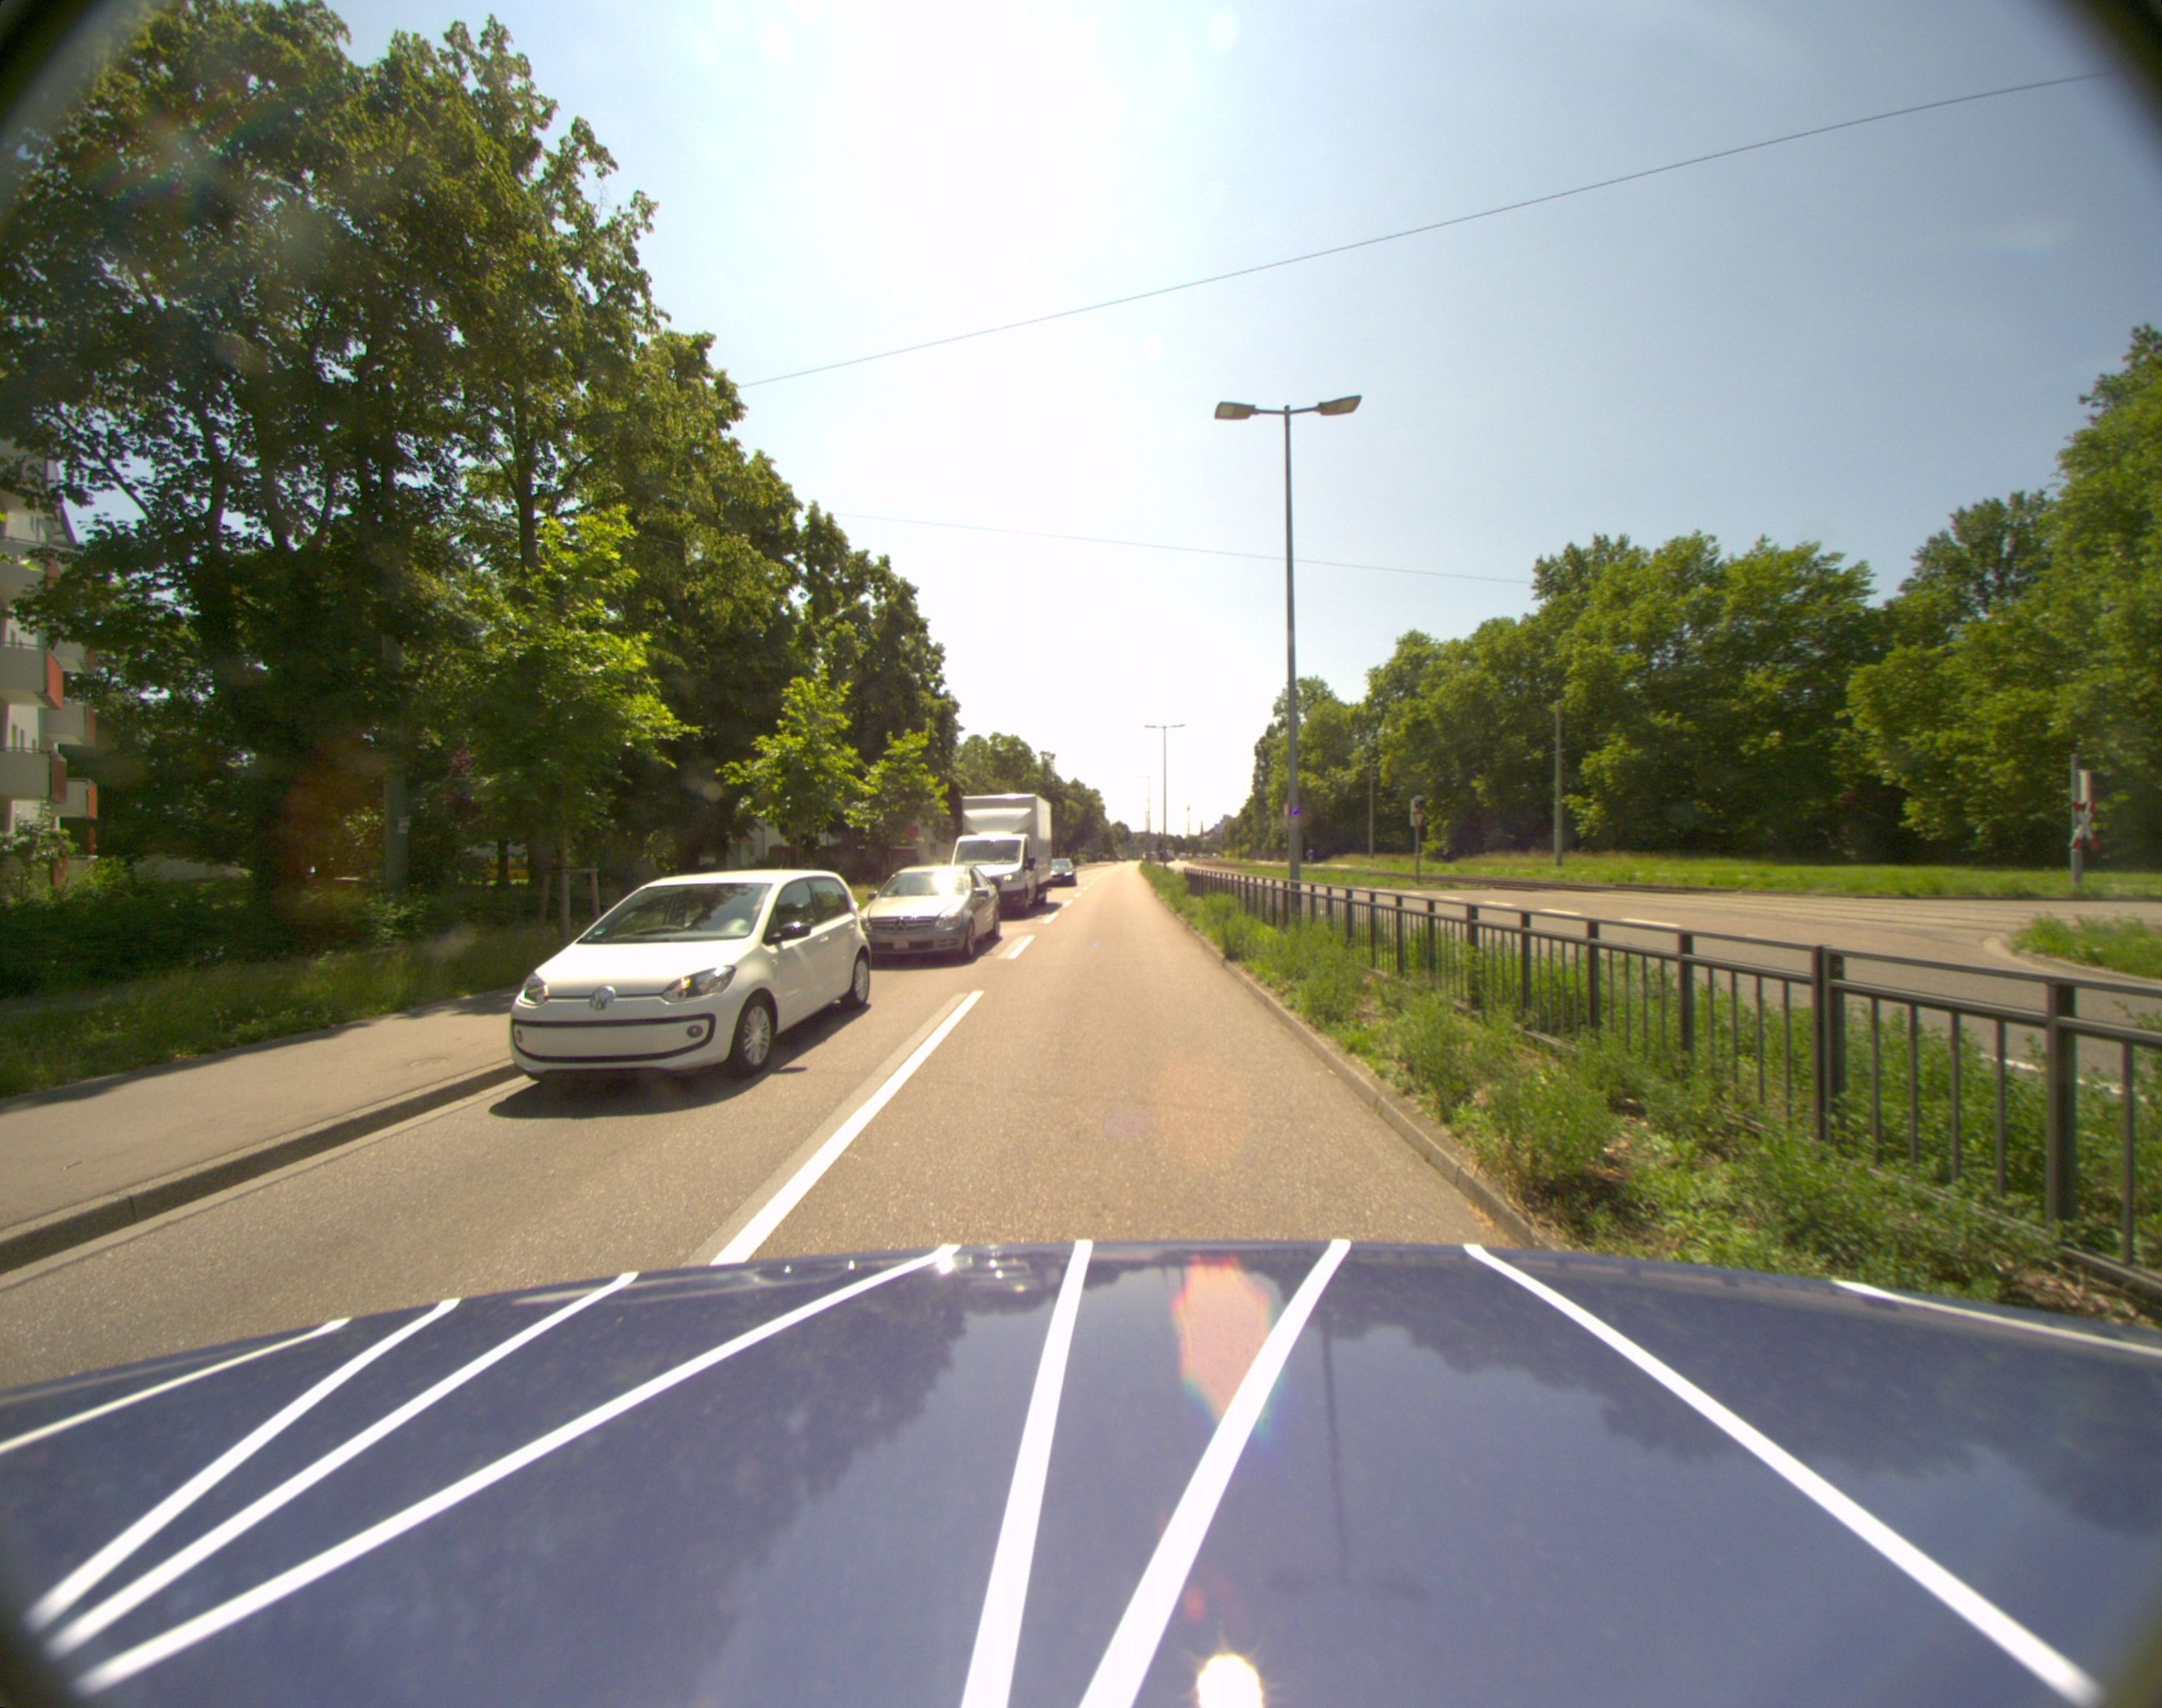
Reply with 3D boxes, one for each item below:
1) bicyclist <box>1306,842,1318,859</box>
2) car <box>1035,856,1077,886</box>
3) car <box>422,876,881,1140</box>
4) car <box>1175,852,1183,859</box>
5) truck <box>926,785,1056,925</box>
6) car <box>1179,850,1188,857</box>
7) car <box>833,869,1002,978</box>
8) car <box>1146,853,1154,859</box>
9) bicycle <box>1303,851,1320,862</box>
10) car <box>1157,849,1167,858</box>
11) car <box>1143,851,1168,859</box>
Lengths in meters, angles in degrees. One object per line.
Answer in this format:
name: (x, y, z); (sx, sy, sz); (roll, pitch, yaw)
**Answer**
bicyclist: (23.680, -0.350, 77.954); (0.862, 1.796, 1.118); (-1, 1, 1)
car: (-1.264, 0.861, 40.203); (1.998, 1.499, 4.000); (-1, 0, 1)
car: (-3.119, 0.999, 6.522); (1.730, 1.470, 3.771); (-1, 0, 1)
car: (26.710, 0.458, 207.256); (1.998, 1.846, 4.001); (-1, 0, 5)
truck: (-2.293, 0.013, 22.283); (2.433, 3.326, 7.923); (-1, 0, 3)
car: (27.022, -0.163, 200.646); (1.998, 1.846, 4.001); (-1, 0, 5)
car: (-2.468, 1.000, 12.544); (1.840, 1.400, 4.087); (-1, 0, 1)
car: (18.834, 0.617, 208.300); (1.997, 1.499, 4.002); (-1, 0, 7)
bicycle: (23.666, 0.240, 78.017); (0.862, 1.155, 2.787); (-1, 0, 1)
car: (16.444, -0.101, 153.957); (1.997, 1.846, 4.002); (-1, 0, 7)
car: (22.410, 0.266, 227.839); (6.651, 2.381, 3.193); (-1, 0, -27)
